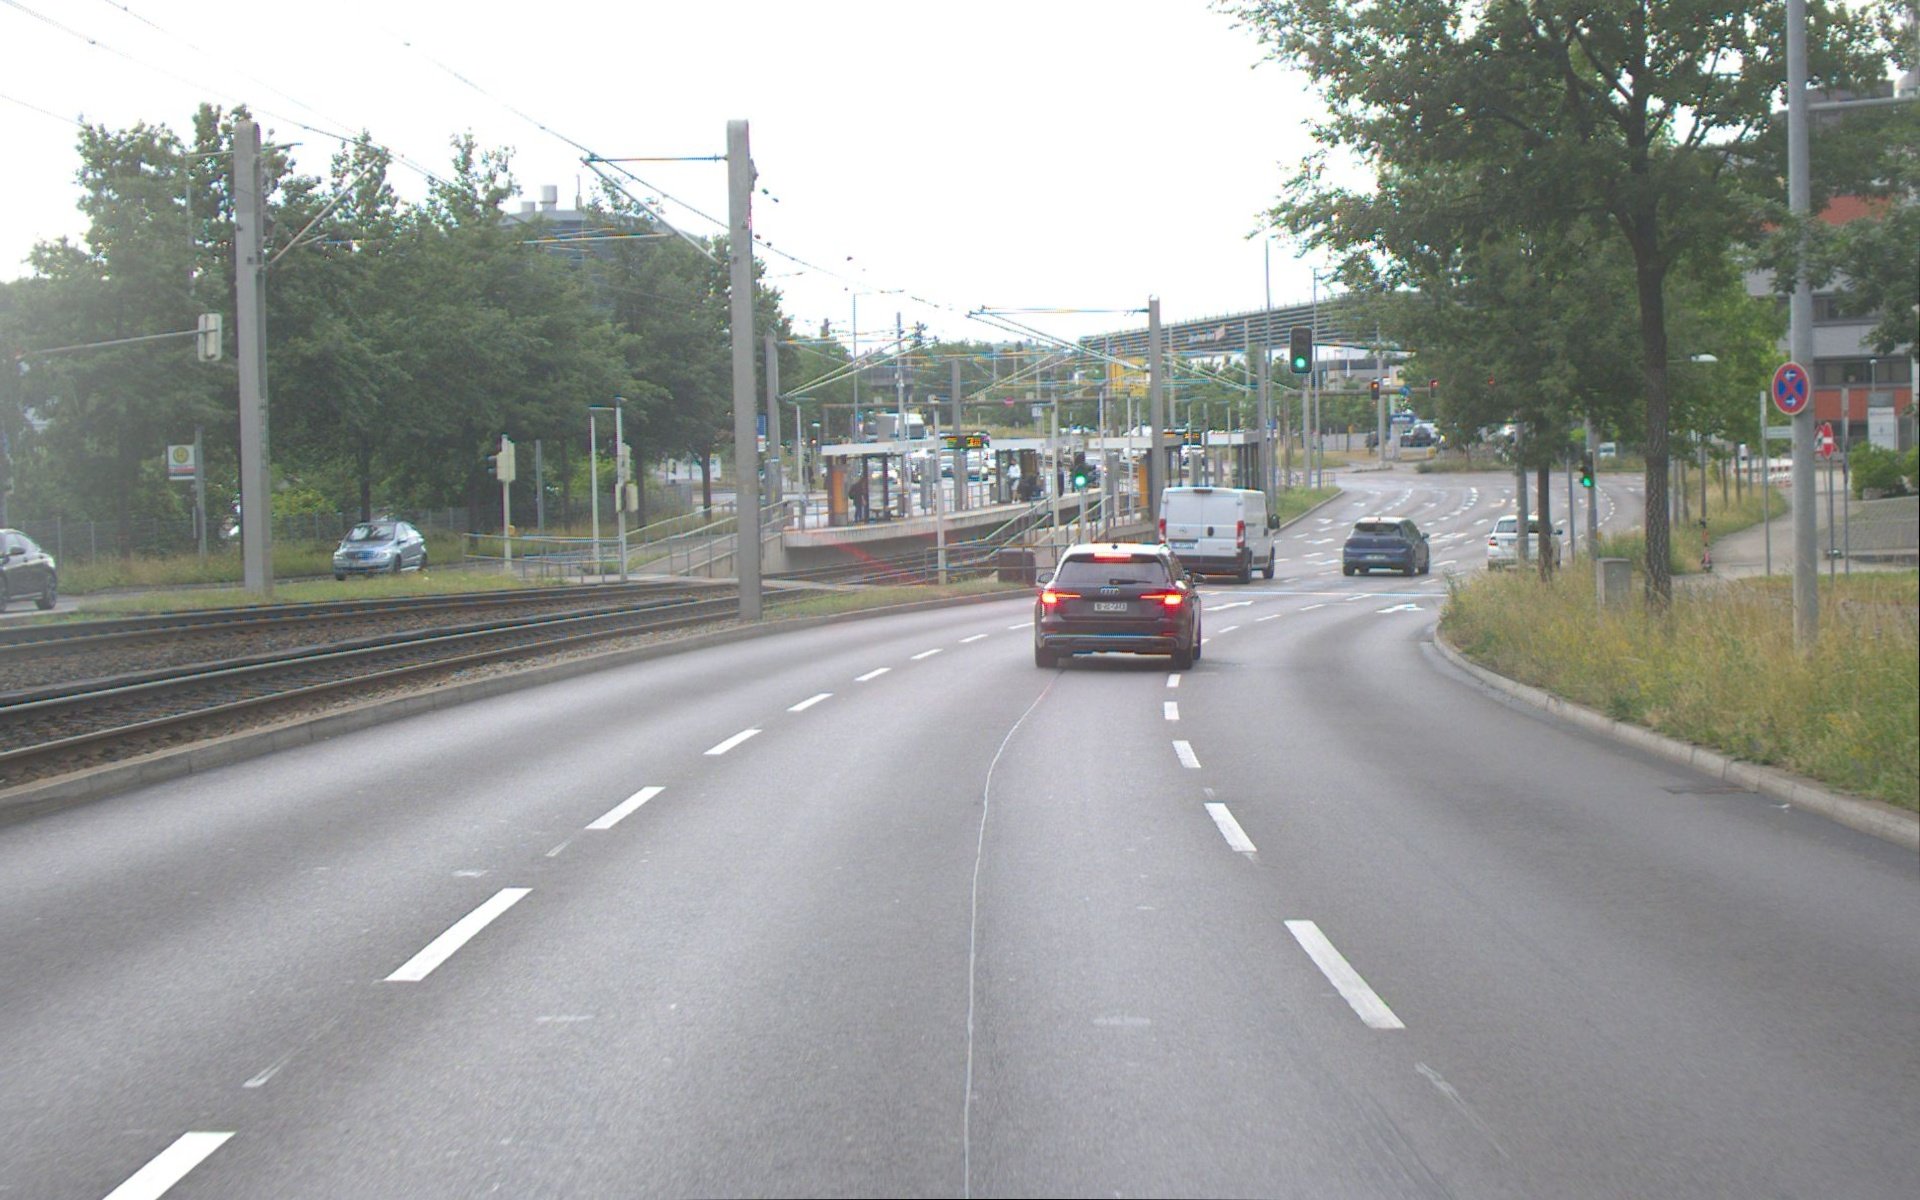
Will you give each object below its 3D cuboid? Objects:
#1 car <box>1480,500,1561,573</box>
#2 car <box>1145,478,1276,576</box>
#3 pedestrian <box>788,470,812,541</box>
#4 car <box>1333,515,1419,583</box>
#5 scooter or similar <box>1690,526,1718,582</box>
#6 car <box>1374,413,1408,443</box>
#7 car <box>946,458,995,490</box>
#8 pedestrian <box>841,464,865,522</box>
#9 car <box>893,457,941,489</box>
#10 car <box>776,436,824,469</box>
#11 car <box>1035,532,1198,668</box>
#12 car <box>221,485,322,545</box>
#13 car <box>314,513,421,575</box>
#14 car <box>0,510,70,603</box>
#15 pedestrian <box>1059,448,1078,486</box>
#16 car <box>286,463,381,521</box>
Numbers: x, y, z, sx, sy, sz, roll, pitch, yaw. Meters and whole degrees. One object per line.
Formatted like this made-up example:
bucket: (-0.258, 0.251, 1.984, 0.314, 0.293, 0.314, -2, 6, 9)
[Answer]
car: (14.845, -1.698, 90.954, 2.022, 1.763, 3.999, 1, 3, 10)
car: (5.981, -1.695, 81.488, 2.512, 2.170, 5.147, 1, 0, 11)
pedestrian: (-4.461, -2.632, 96.040, 0.549, 1.946, 0.664, 1, 0, 6)
car: (10.518, -1.275, 86.725, 2.022, 1.617, 3.998, 1, 0, 9)
scooter or similar: (17.225, -1.071, 79.556, 0.457, 1.259, 1.337, -3, 1, 7)
car: (32.319, -12.901, 258.053, 1.993, 2.007, 4.000, 0, 0, -1)
car: (0.721, -8.623, 235.448, 1.993, 2.007, 4.001, 1, 0, -21)
pedestrian: (-3.462, -3.461, 111.540, 0.637, 1.848, 0.750, 1, 0, 10)
car: (-2.940, -8.676, 234.467, 1.993, 2.007, 4.001, 1, 0, -21)
car: (-10.513, -9.680, 226.139, 1.993, 2.007, 4.001, 1, 0, -21)
car: (1.885, -0.047, 40.323, 1.764, 1.458, 4.626, 1, 1, 4)
car: (-23.997, -2.963, 119.946, 1.995, 2.007, 3.998, 1, 0, 13)
car: (-16.505, -1.588, 95.952, 1.994, 1.674, 4.000, 1, 2, 5)
car: (-16.523, -0.694, 57.769, 1.883, 1.515, 4.403, -4, 1, 0)
pedestrian: (5.140, -6.269, 162.436, 0.752, 1.745, 0.763, 1, 0, 11)
car: (-22.771, -3.904, 125.119, 1.995, 2.007, 3.998, 1, 0, 13)
